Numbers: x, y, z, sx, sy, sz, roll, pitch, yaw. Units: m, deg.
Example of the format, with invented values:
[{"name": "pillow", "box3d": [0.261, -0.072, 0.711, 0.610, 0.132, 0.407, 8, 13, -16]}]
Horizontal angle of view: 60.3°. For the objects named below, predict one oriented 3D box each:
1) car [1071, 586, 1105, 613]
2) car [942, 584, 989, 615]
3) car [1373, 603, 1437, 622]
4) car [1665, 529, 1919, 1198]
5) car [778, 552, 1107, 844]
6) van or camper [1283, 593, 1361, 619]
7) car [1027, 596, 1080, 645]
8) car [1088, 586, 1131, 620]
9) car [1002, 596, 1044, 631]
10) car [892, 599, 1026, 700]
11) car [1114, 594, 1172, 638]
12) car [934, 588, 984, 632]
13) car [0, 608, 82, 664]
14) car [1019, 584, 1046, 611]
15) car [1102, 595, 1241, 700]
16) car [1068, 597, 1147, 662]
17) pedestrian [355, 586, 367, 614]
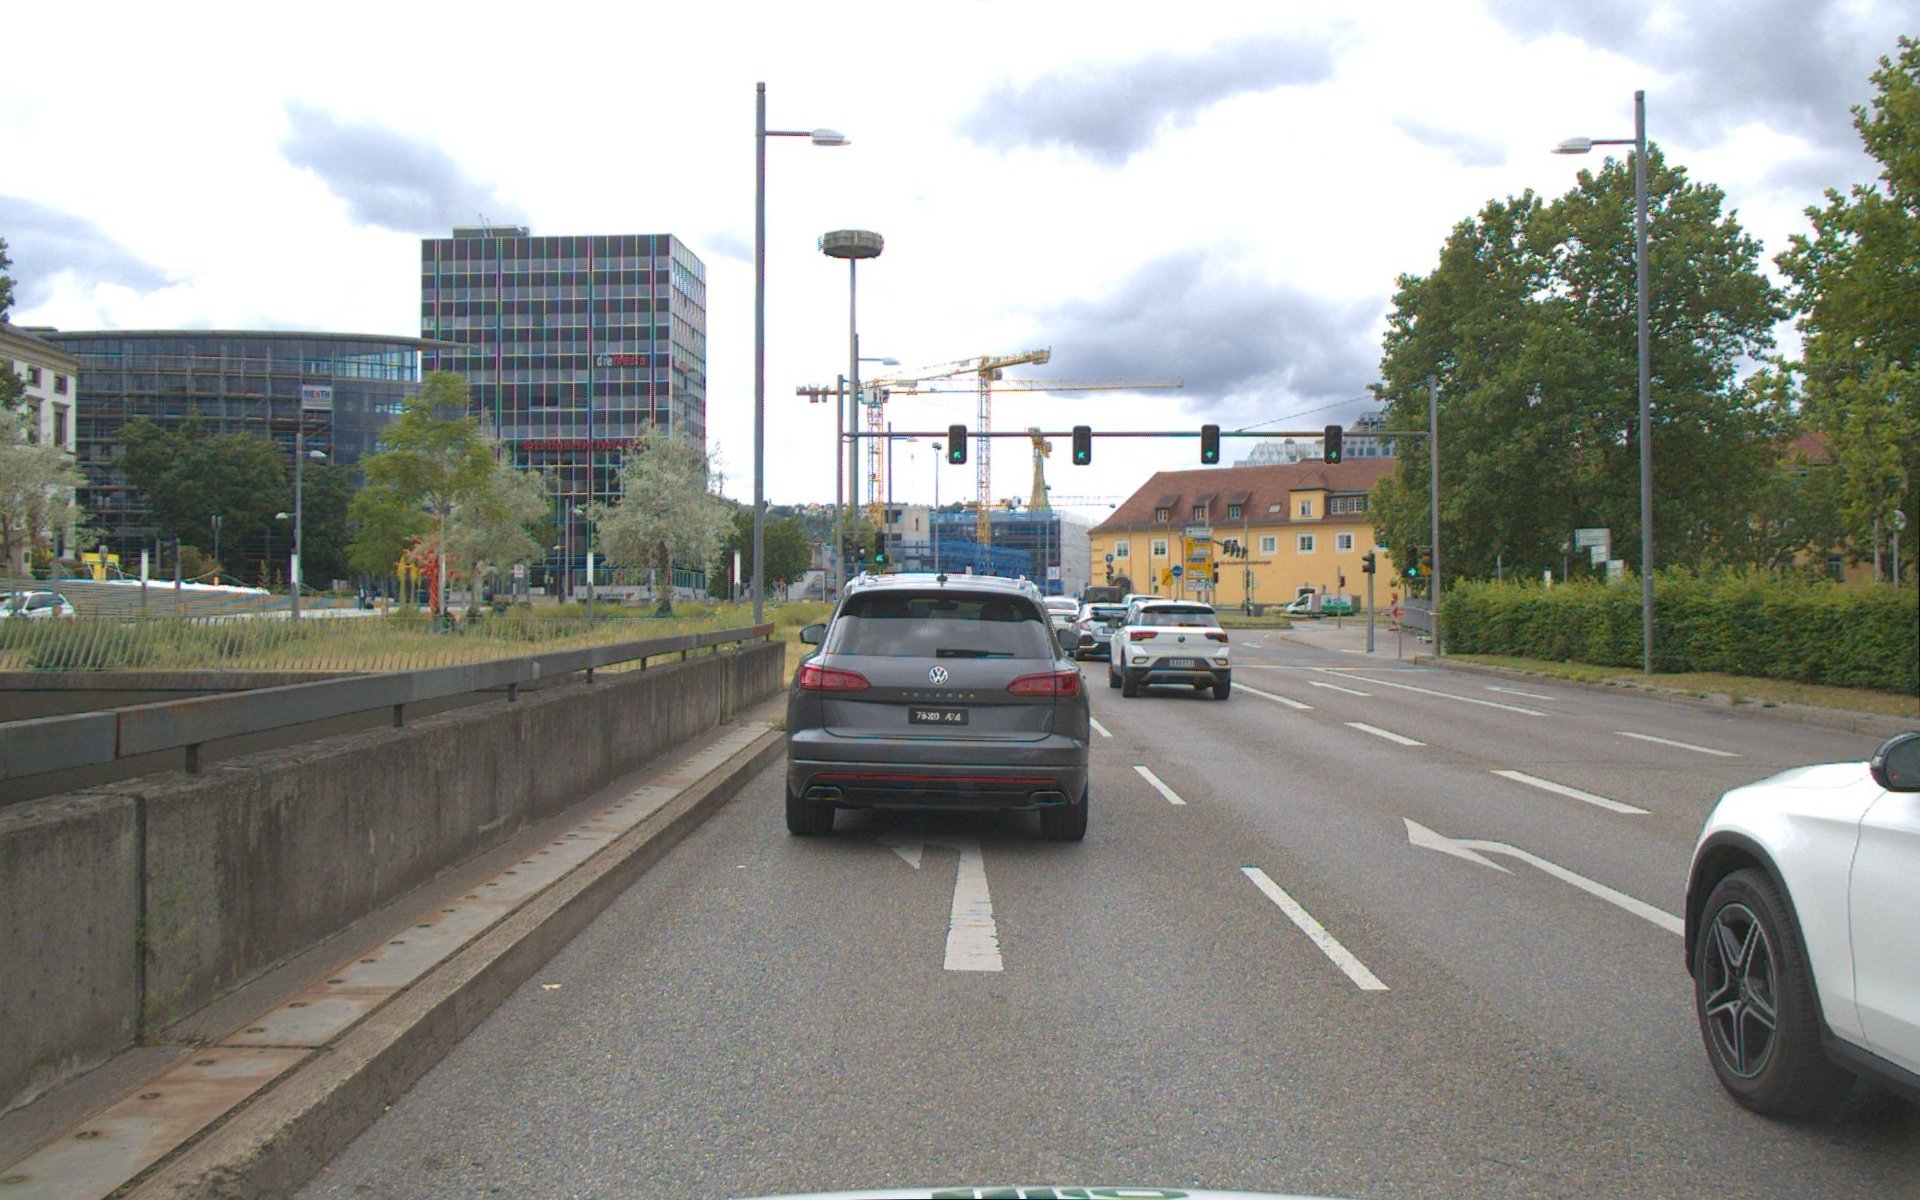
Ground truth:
[{"name": "car", "box3d": [7.297, -0.052, 94.597, 1.683, 1.529, 3.982, 1, 0, 1]}, {"name": "car", "box3d": [0.255, -0.050, 85.050, 2.199, 1.529, 4.609, 1, 0, -2]}, {"name": "car", "box3d": [35.015, 0.954, 130.120, 4.593, 1.445, 1.593, 0, 0, 32]}, {"name": "car", "box3d": [3.291, 0.675, 3.509, 1.781, 1.676, 4.379, 1, 0, 1]}, {"name": "car", "box3d": [-0.103, 0.552, 11.595, 1.893, 1.676, 4.000, 1, 0, 0]}, {"name": "van or camper", "box3d": [29.298, 0.490, 134.070, 5.904, 2.049, 2.012, 0, 0, 36]}, {"name": "car", "box3d": [3.132, 0.661, 55.409, 1.683, 1.529, 3.983, 1, 0, 3]}, {"name": "car", "box3d": [7.138, 0.136, 79.226, 1.683, 1.528, 3.982, 2, 0, 1]}, {"name": "car", "box3d": [3.318, 0.711, 87.266, 2.095, 1.758, 4.070, 0, 0, 1]}, {"name": "car", "box3d": [-0.012, 0.721, 26.250, 1.953, 1.411, 4.000, 0, 1, 0]}, {"name": "car", "box3d": [6.738, 0.554, 61.287, 1.766, 1.529, 3.982, 1, 0, 1]}, {"name": "car", "box3d": [-0.038, 0.352, 60.509, 1.777, 1.522, 3.906, 1, 0, 0]}, {"name": "car", "box3d": [-30.296, 1.122, 53.095, 1.683, 1.602, 4.613, 0, 1, 1]}, {"name": "car", "box3d": [5.634, -0.235, 128.784, 1.953, 2.049, 4.000, 1, 0, 0]}, {"name": "car", "box3d": [3.500, 0.742, 27.956, 1.855, 1.613, 3.801, 1, 0, 0]}, {"name": "car", "box3d": [3.701, 0.709, 42.039, 1.683, 1.529, 4.144, 1, 0, 1]}, {"name": "pedestrian", "box3d": [-36.587, -0.010, 101.015, 0.513, 1.678, 0.650, 1, 0, -2]}]
